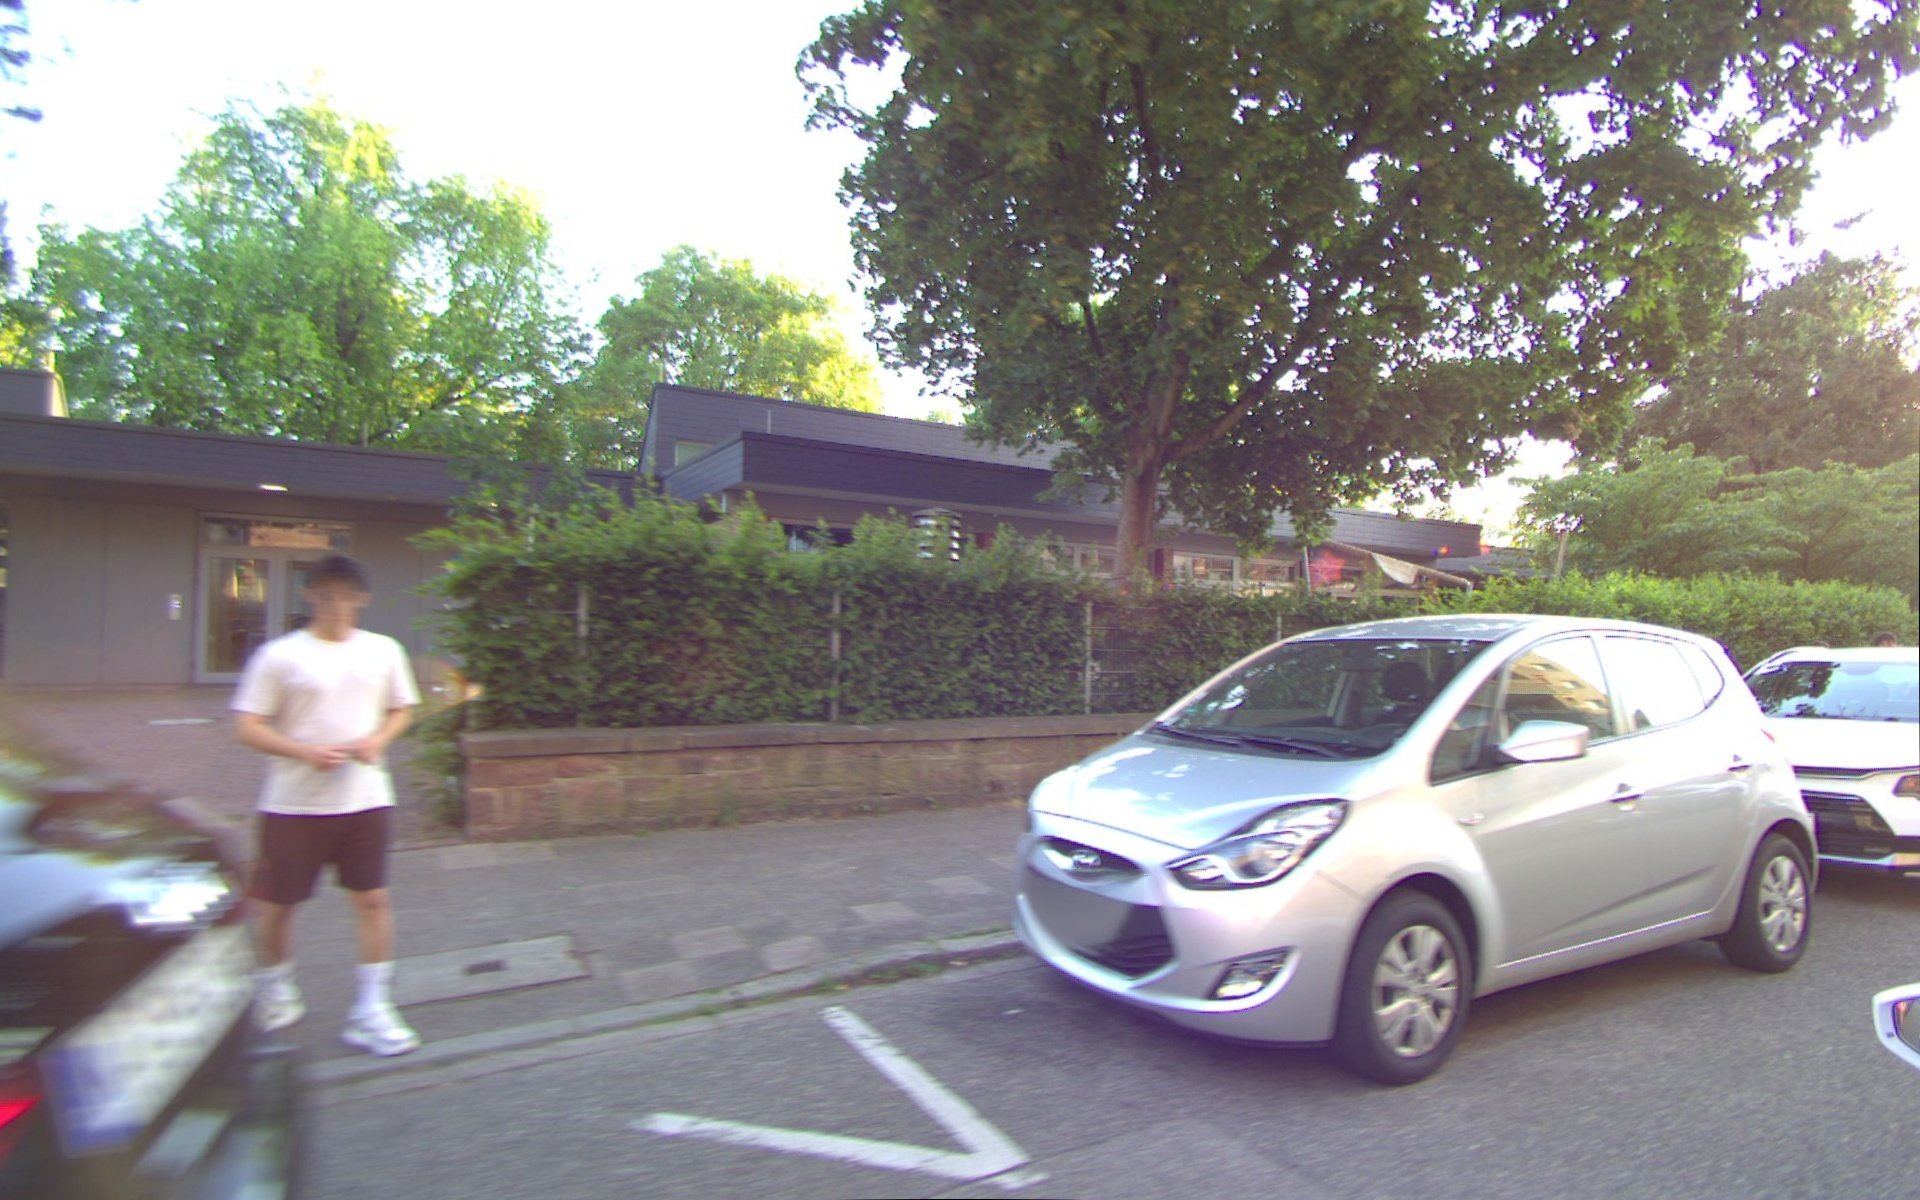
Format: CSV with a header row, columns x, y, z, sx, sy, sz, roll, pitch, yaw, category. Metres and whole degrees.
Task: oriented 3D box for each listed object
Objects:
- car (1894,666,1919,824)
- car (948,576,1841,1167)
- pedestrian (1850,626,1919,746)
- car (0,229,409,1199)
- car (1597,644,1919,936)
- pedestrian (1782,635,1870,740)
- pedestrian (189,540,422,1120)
x,y,z,sx,sy,sz,roll,pitch,yaw,category
10.962,1.388,9.812,4.242,1.445,1.724,3,-3,-33,car
2.077,0.859,4.573,3.933,1.652,1.726,2,-3,-30,car
14.501,1.305,15.483,0.735,1.755,0.902,3,1,14,pedestrian
-2.690,0.596,0.437,4.067,1.652,1.730,2,-3,-23,car
6.542,1.132,7.207,4.235,1.563,1.749,3,-3,-33,car
13.545,1.349,15.723,0.892,1.528,0.744,2,1,-32,pedestrian
-2.222,0.682,3.438,0.552,1.725,0.741,2,1,-33,pedestrian
